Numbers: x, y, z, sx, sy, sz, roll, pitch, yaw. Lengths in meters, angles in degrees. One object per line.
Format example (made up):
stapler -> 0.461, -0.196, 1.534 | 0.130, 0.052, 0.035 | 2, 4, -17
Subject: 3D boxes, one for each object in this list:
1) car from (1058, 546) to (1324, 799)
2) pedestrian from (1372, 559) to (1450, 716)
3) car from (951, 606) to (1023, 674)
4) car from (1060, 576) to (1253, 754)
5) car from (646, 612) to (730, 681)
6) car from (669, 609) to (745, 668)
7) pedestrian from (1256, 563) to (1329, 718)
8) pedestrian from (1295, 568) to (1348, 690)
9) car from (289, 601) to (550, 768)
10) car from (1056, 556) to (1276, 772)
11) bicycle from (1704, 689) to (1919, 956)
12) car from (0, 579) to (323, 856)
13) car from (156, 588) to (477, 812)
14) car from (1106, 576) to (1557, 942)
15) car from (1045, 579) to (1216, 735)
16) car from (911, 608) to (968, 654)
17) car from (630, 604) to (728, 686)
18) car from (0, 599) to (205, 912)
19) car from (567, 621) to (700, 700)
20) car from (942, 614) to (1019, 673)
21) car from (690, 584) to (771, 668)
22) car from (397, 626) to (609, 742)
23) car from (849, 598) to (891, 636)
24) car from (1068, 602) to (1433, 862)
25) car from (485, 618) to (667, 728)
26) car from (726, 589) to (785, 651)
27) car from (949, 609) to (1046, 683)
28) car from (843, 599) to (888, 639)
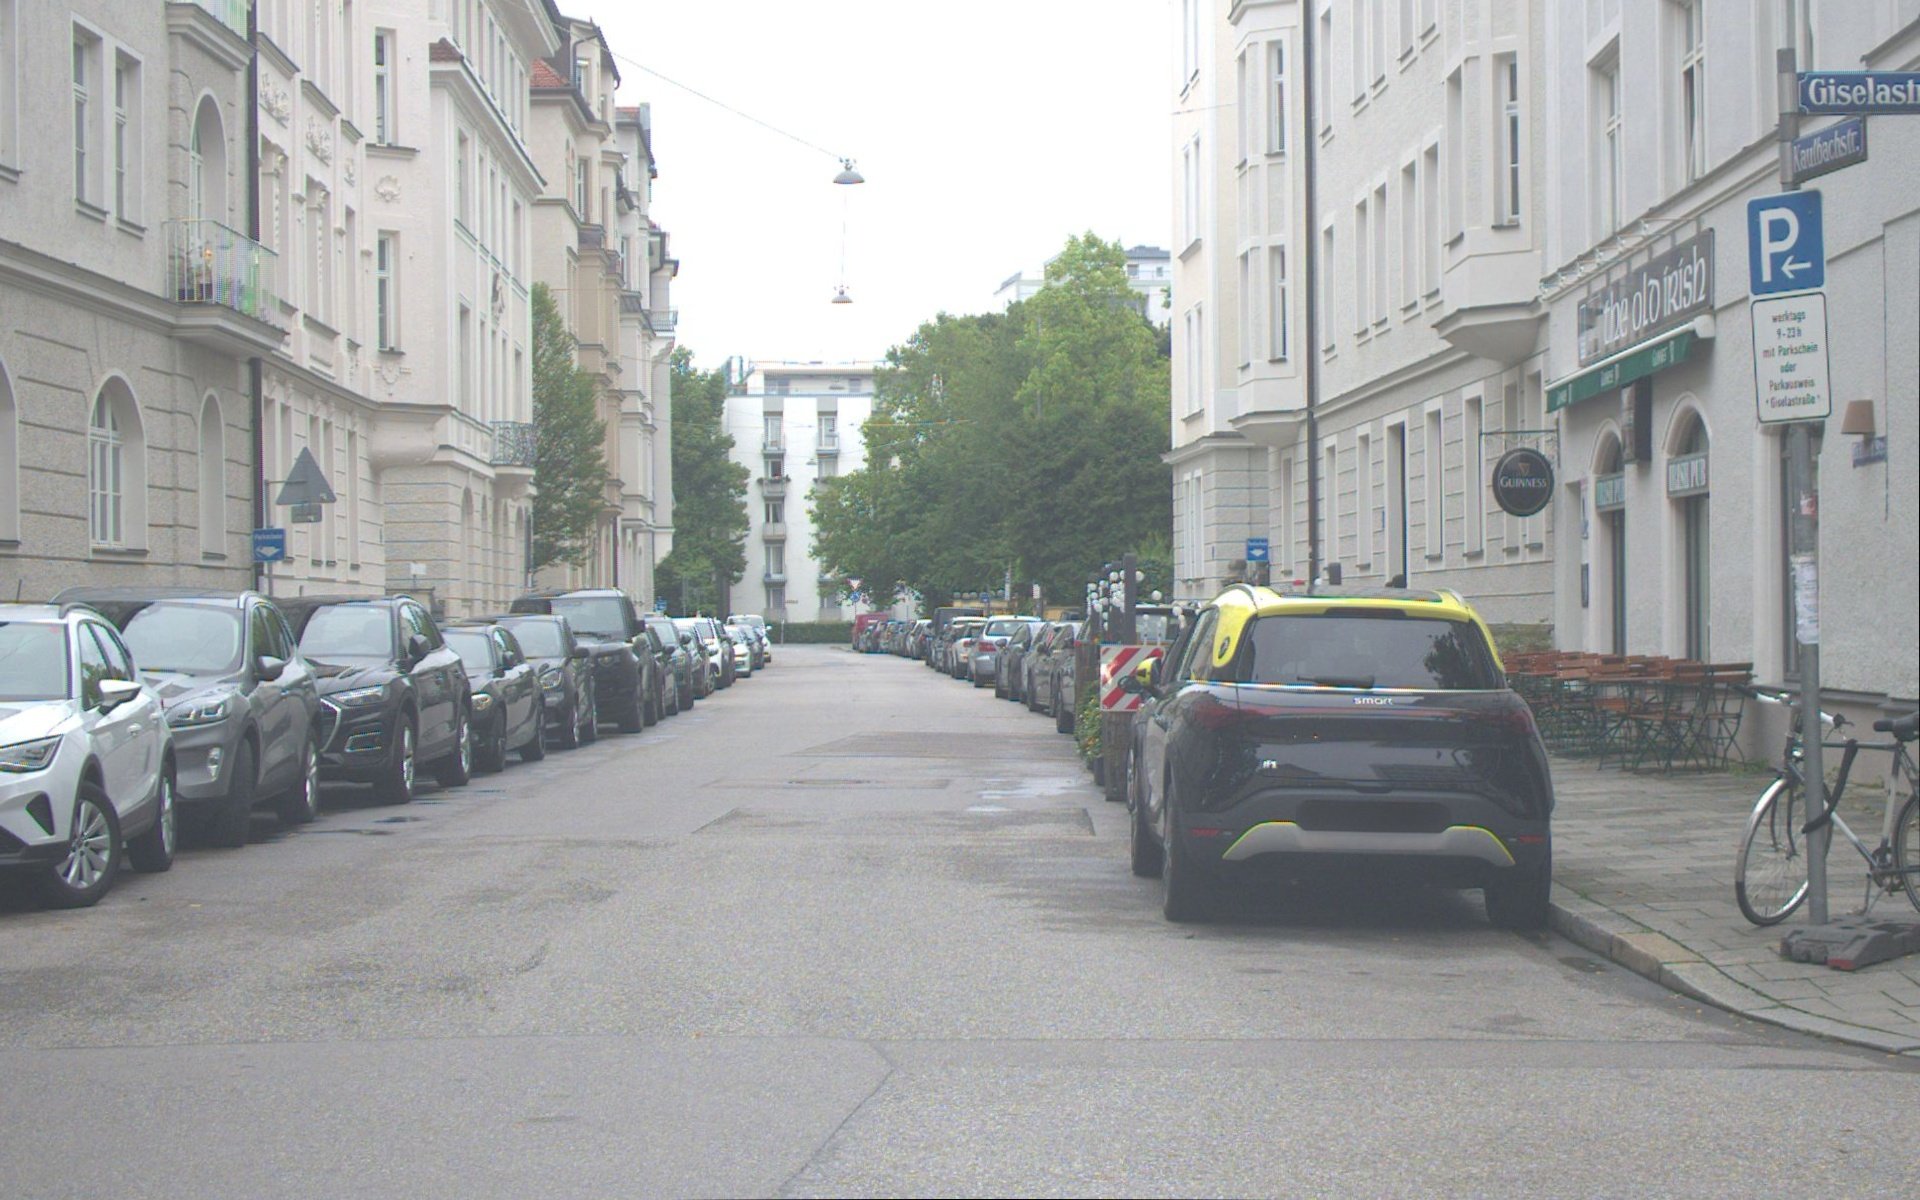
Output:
car -> 1.808, 0.546, 28.143 | 1.820, 1.864, 4.289 | 2, 0, 0
pedestrian -> 5.378, 0.435, 41.041 | 0.778, 1.845, 1.023 | 0, 0, 0
car -> 0.800, 1.195, 104.809 | 1.993, 1.975, 4.893 | 0, 0, -2
car -> 2.095, 0.667, 37.787 | 1.993, 1.850, 4.345 | 0, 0, 2
car -> -5.838, 0.975, 74.108 | 1.733, 1.415, 4.000 | 0, 0, -3
car -> -6.956, 1.034, 94.909 | 1.993, 1.568, 4.000 | 0, 0, -3
pedestrian -> 4.011, 0.478, 41.498 | 0.778, 1.845, 1.023 | 0, 0, 0
pedestrian -> 5.541, 0.444, 52.684 | 0.778, 1.845, 0.859 | 0, 0, 7
car -> -5.296, 0.787, 34.152 | 1.925, 1.541, 4.000 | 0, 0, 1
car -> 1.935, 0.581, 33.411 | 1.820, 1.917, 4.183 | 2, 0, 0
bicycle -> 3.854, 0.904, 14.208 | 0.539, 0.995, 1.756 | -4, 1, -24
car -> -5.483, 0.712, 22.839 | 1.993, 1.670, 4.013 | 0, 0, -4
car -> -5.156, 0.751, 28.085 | 1.993, 1.670, 4.289 | 0, 0, -3
car -> 1.794, 0.729, 17.901 | 1.820, 1.630, 4.289 | 2, 0, 0
car -> 2.051, 0.663, 42.383 | 1.820, 1.781, 4.183 | 2, 0, 0
car -> -0.801, 1.170, 131.758 | 1.950, 1.646, 4.000 | -2, 0, -3
car -> -5.542, 0.865, 68.153 | 1.820, 1.568, 4.000 | 0, 0, -3
car -> -5.267, 0.737, 18.209 | 1.993, 1.468, 4.219 | 0, 0, -6
car -> -5.333, 0.973, 56.574 | 1.906, 1.218, 4.000 | 0, 0, -1
car -> 0.488, 1.079, 86.735 | 1.729, 1.413, 3.852 | 0, 0, -3
car -> -5.617, 0.626, 84.477 | 1.846, 2.007, 4.000 | 0, 0, -2
car -> -5.257, 0.944, 40.019 | 1.906, 1.218, 4.000 | 0, 0, 0
car -> -4.793, 0.875, 182.410 | 1.993, 1.975, 4.893 | 0, 0, -4
car -> 1.811, 0.791, 22.891 | 1.976, 1.493, 4.637 | 2, 0, 0
car -> -4.961, 0.926, 44.893 | 1.906, 1.324, 4.000 | 0, 0, 0
car -> -6.721, 0.643, 113.163 | 1.846, 2.007, 4.000 | 0, 0, -2
car -> 0.808, 0.992, 76.009 | 1.906, 1.571, 4.000 | 0, 0, -3
car -> -4.723, 0.921, 171.128 | 1.993, 1.975, 4.893 | 0, 0, -4
